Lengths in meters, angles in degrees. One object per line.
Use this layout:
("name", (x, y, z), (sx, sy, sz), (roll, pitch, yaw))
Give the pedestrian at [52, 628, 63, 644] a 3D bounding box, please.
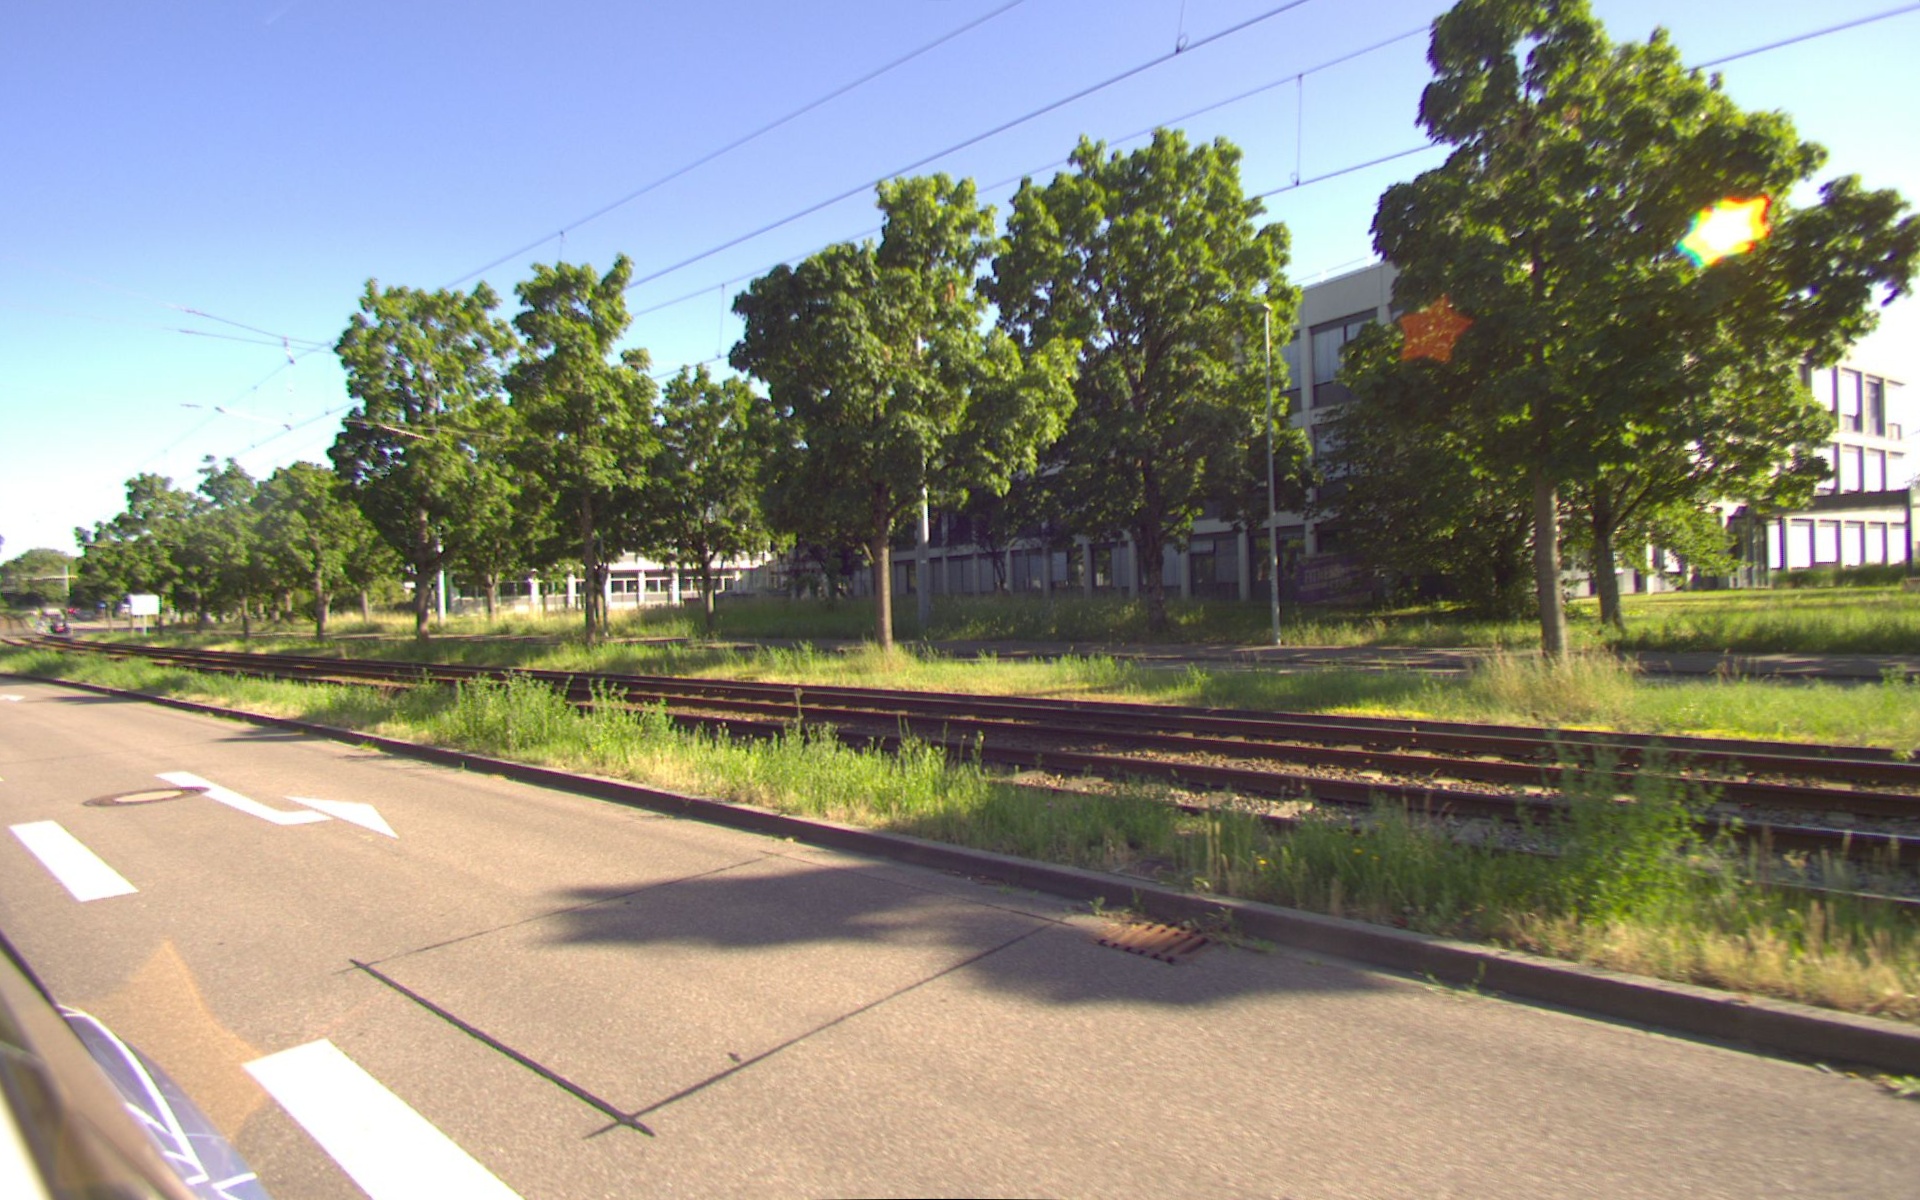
("pedestrian", (-98.780, 3.945, 110.771), (0.782, 1.765, 0.775), (-2, 0, 44))
